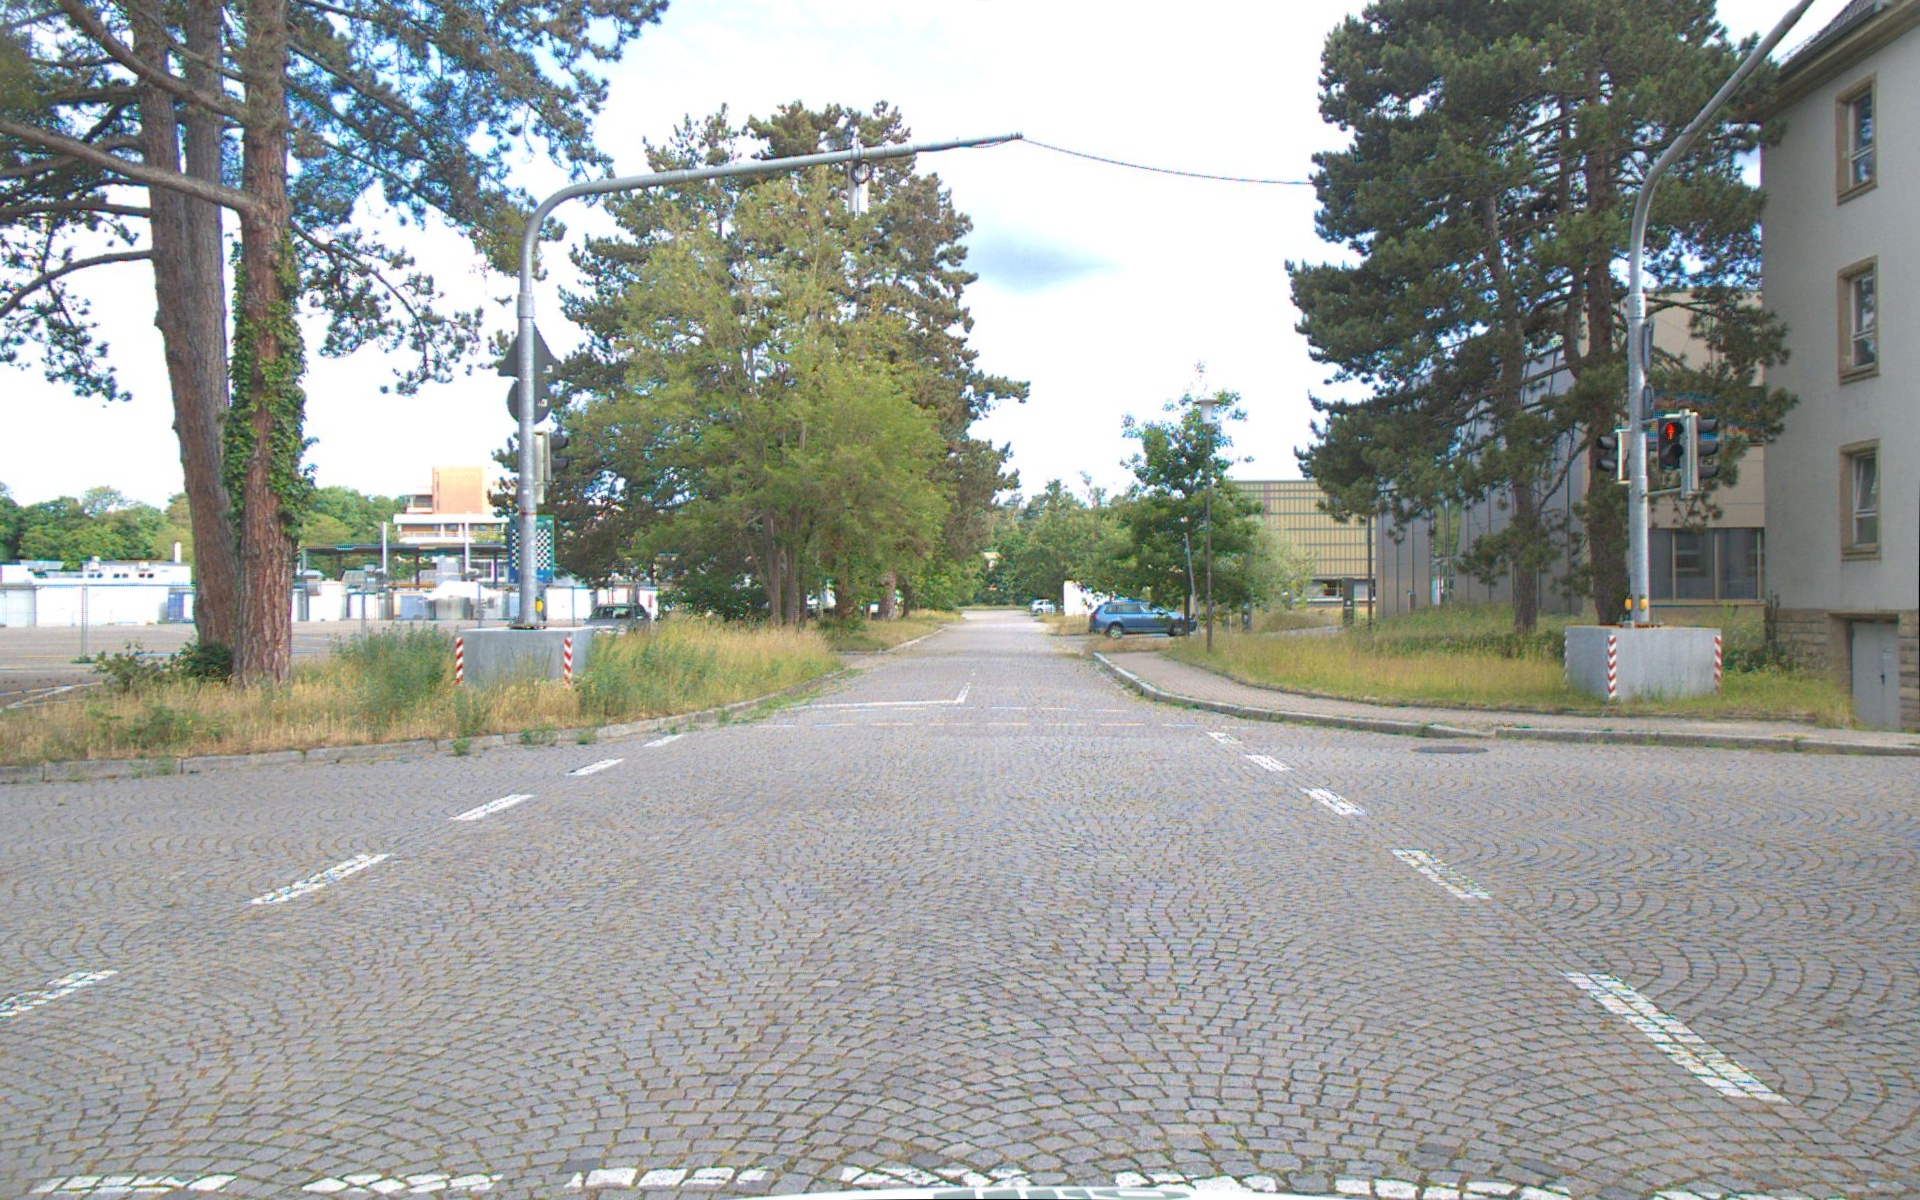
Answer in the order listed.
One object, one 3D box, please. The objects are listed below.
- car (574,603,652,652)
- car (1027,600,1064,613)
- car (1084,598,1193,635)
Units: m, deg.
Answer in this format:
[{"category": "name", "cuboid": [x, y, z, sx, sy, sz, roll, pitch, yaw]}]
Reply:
[{"category": "car", "cuboid": [-11.220, 0.855, 53.692, 1.579, 1.513, 4.001, 0, 0, 2]}, {"category": "car", "cuboid": [9.537, 0.686, 185.223, 3.908, 1.422, 1.998, -1, 0, -4]}, {"category": "car", "cuboid": [7.318, 0.666, 68.071, 4.255, 1.447, 2.000, -1, 0, -1]}]
